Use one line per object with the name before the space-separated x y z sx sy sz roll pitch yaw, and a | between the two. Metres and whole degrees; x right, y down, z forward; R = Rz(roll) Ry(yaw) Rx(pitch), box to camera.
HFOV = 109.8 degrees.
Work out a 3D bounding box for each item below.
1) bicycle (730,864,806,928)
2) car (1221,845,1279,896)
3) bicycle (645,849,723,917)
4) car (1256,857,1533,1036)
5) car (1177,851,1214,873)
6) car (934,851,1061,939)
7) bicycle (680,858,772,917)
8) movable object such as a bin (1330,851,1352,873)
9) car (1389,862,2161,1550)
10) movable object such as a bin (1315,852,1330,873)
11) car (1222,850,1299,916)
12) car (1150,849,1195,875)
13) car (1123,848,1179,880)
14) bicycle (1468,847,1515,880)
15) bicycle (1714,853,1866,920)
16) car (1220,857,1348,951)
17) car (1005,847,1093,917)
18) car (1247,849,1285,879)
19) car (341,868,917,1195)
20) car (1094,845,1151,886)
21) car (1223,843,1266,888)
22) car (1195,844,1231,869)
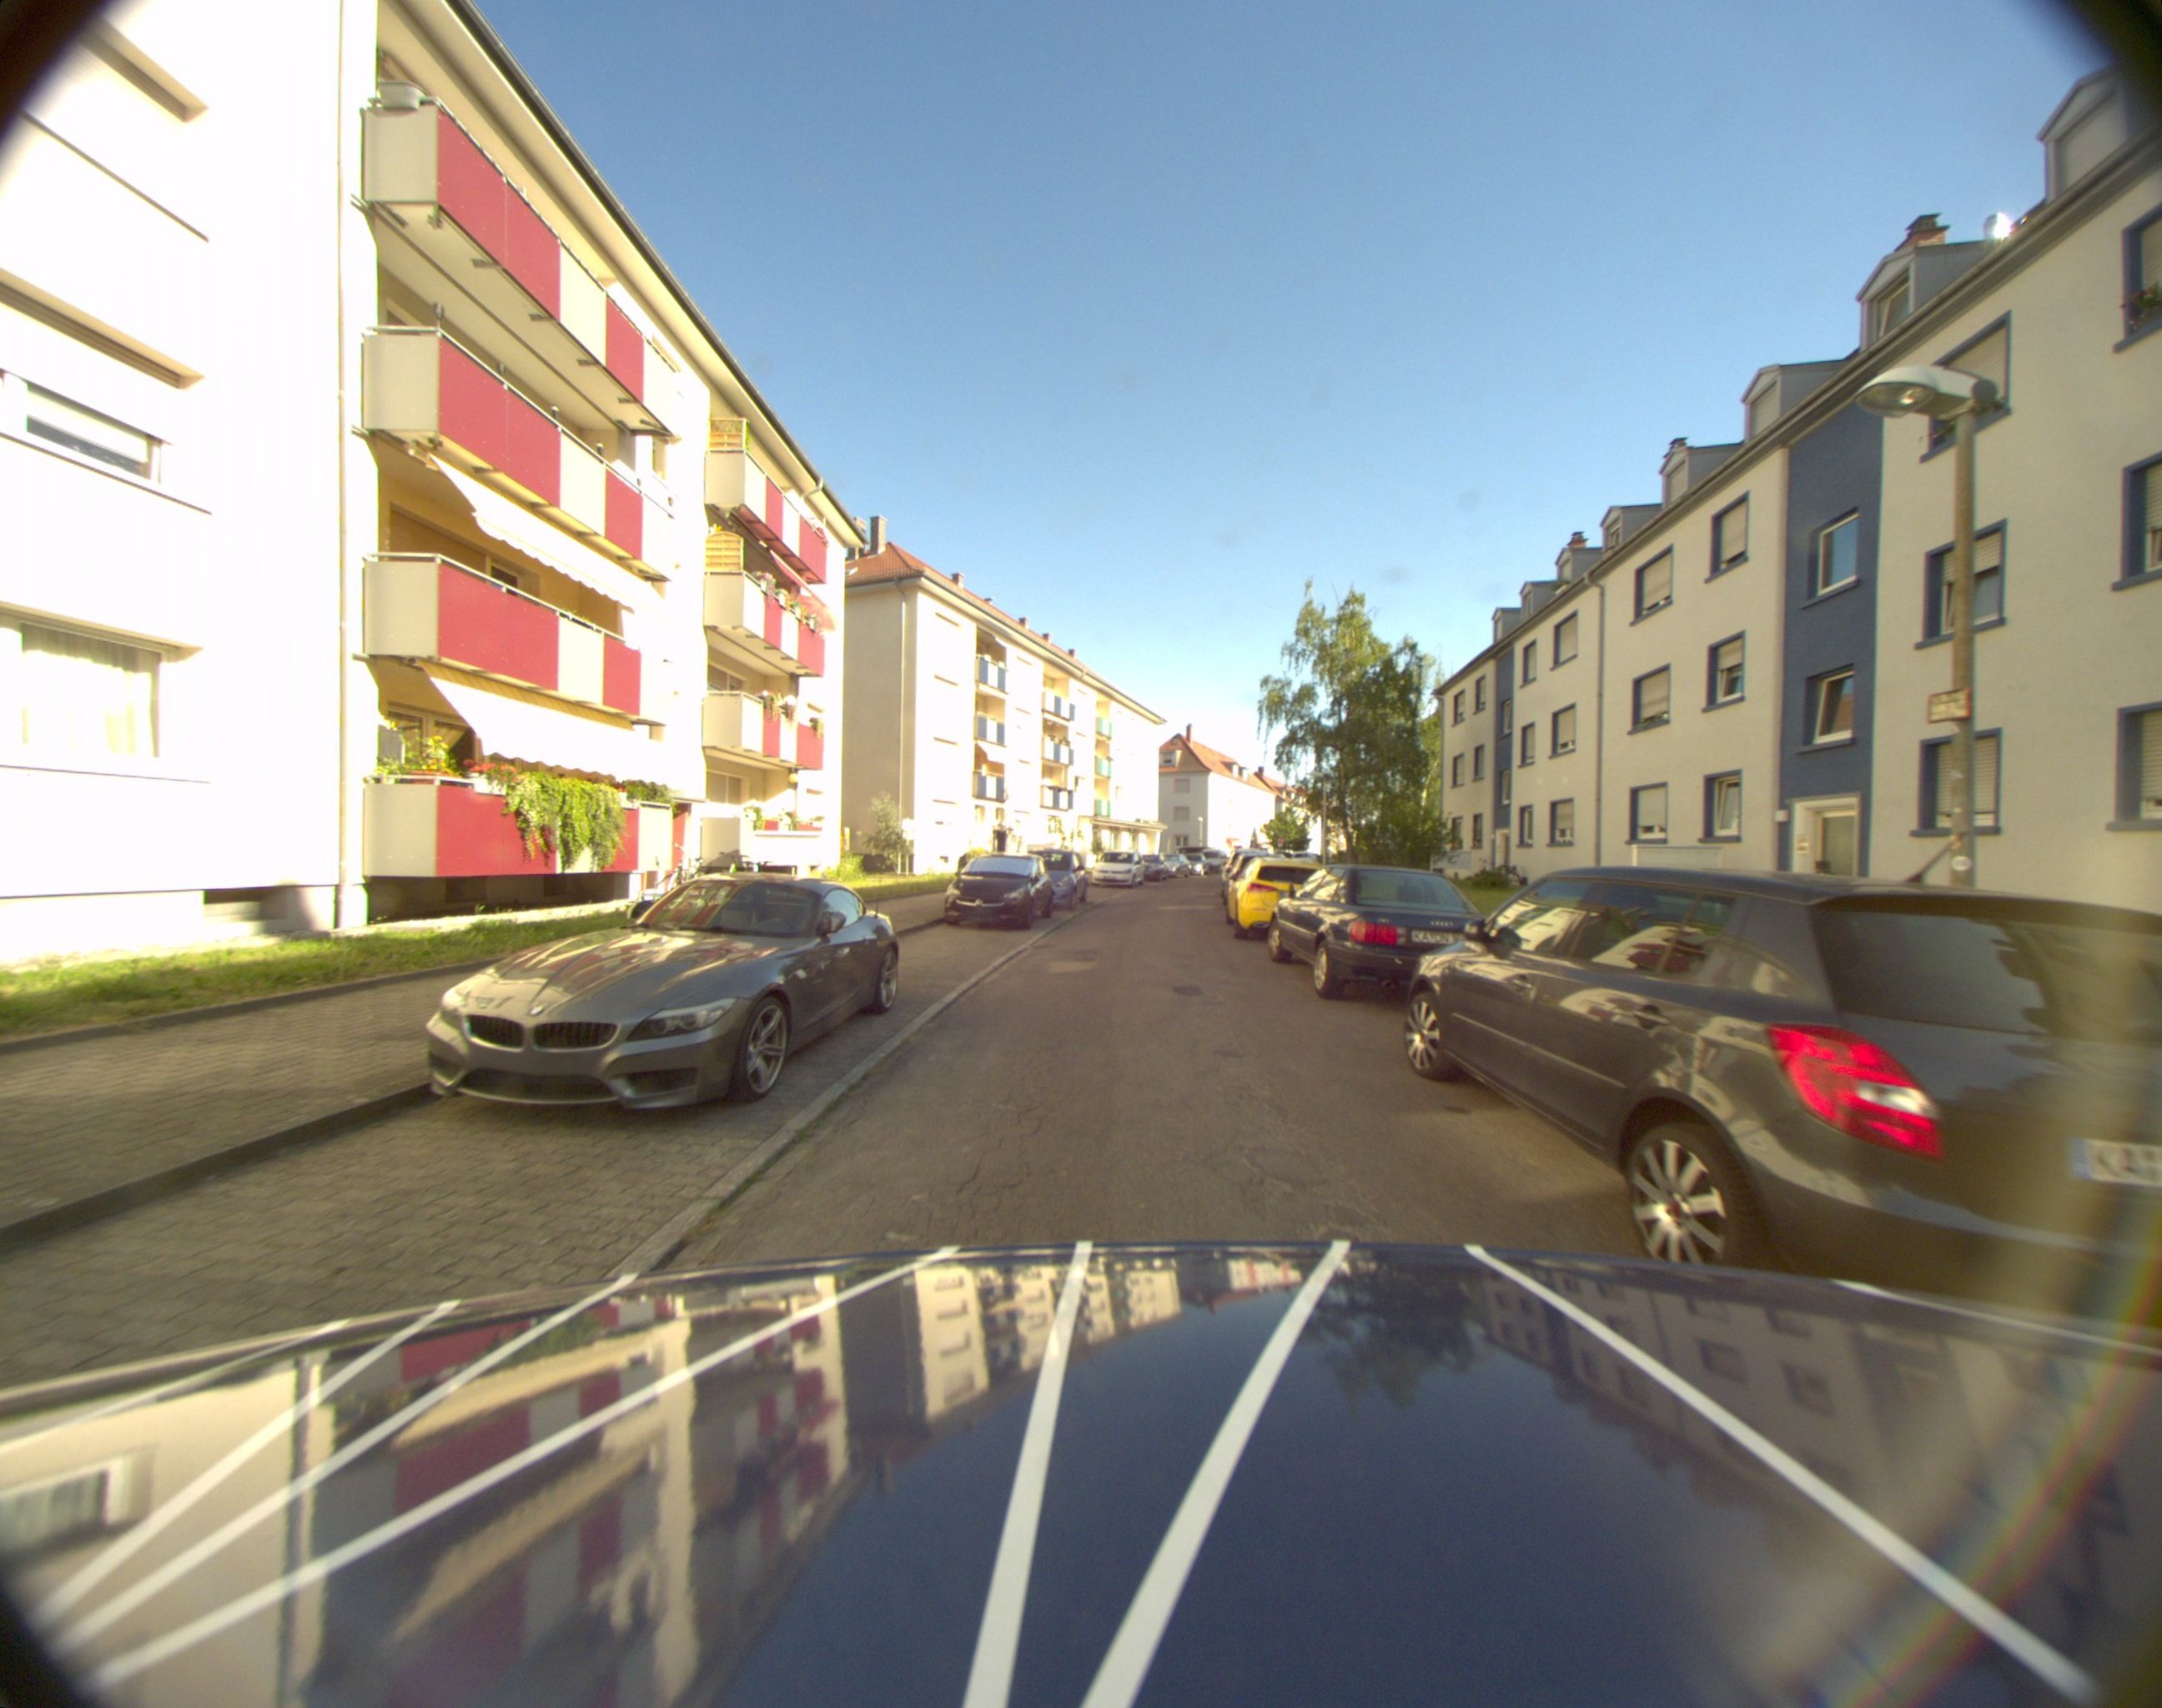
bicycle | -5.727 0.731 13.995 0.498 1.014 1.842 2 2 4
car | 5.637 0.525 25.756 1.697 1.551 4.159 -1 0 10
bicycle | -7.391 0.508 14.229 0.408 1.144 1.762 2 2 4
car | 3.253 0.828 8.849 1.572 1.456 4.262 2 1 3
car | 7.856 0.515 51.929 1.680 1.399 4.551 -1 1 19
car | -1.630 0.756 16.190 1.738 1.500 3.887 3 1 7
bicycle | -6.482 0.582 14.002 0.618 0.972 1.897 4 0 5
movable object such as a bin | 16.690 0.527 48.784 1.220 1.372 0.768 0 1 29
car | 2.851 0.880 3.569 1.481 1.469 3.632 4 2 5
movable object such as a bin | 15.927 0.556 50.101 0.776 1.385 1.419 1 1 24
car | 4.594 0.668 19.906 1.696 1.437 4.023 2 2 10
car | 5.628 0.438 46.193 1.679 1.439 4.730 -1 1 20
car | 3.765 0.492 40.115 1.696 1.423 4.694 -3 0 21
bicycle | 14.866 0.348 27.516 1.411 1.145 0.416 1 2 9
bicycle | 12.074 0.560 12.993 1.823 1.072 0.569 -2 1 16
car | 3.591 0.794 14.121 1.697 1.381 4.158 2 1 7
car | -0.803 0.696 21.443 1.769 1.626 4.042 2 2 7
car | 10.463 0.525 42.804 1.679 1.434 4.285 4 2 18
car | -2.672 0.895 5.809 1.689 1.355 4.240 3 1 3
car | 1.928 0.455 34.028 1.696 1.646 4.395 2 1 14
car | 6.969 0.422 32.345 1.557 1.705 4.341 4 2 13
car | 9.948 0.156 57.158 1.748 1.814 4.137 2 2 22
